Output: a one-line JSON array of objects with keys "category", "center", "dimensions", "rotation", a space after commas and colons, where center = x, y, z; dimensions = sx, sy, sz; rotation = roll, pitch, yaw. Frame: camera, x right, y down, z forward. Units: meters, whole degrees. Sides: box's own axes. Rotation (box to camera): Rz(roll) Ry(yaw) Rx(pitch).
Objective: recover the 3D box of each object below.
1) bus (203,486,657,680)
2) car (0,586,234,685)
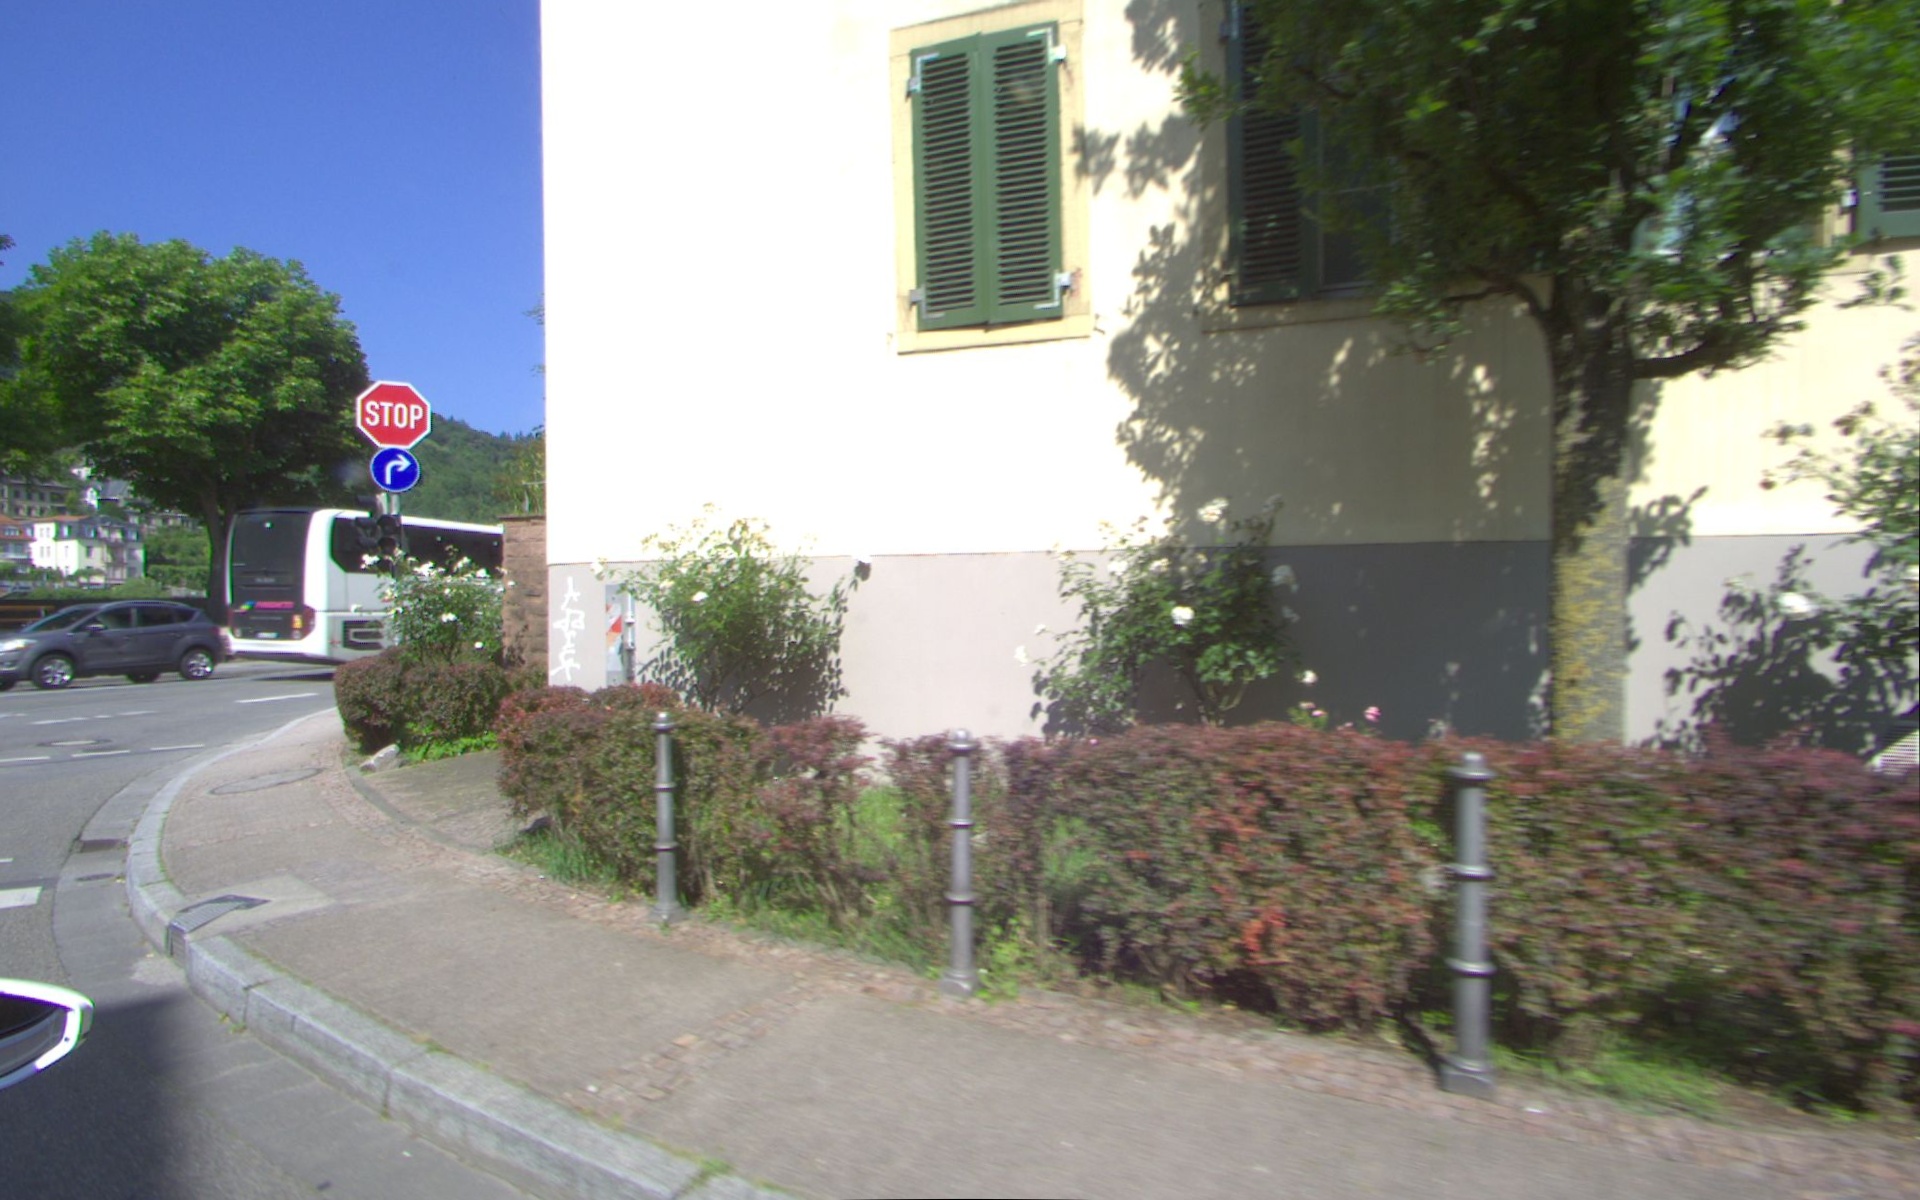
[{"category": "bus", "center": [-12.551, -0.248, 26.056], "dimensions": [2.854, 3.837, 12.166], "rotation": [-1, -1, 15]}, {"category": "car", "center": [-17.589, 0.752, 20.371], "dimensions": [1.811, 1.775, 4.406], "rotation": [-3, -2, 14]}]
